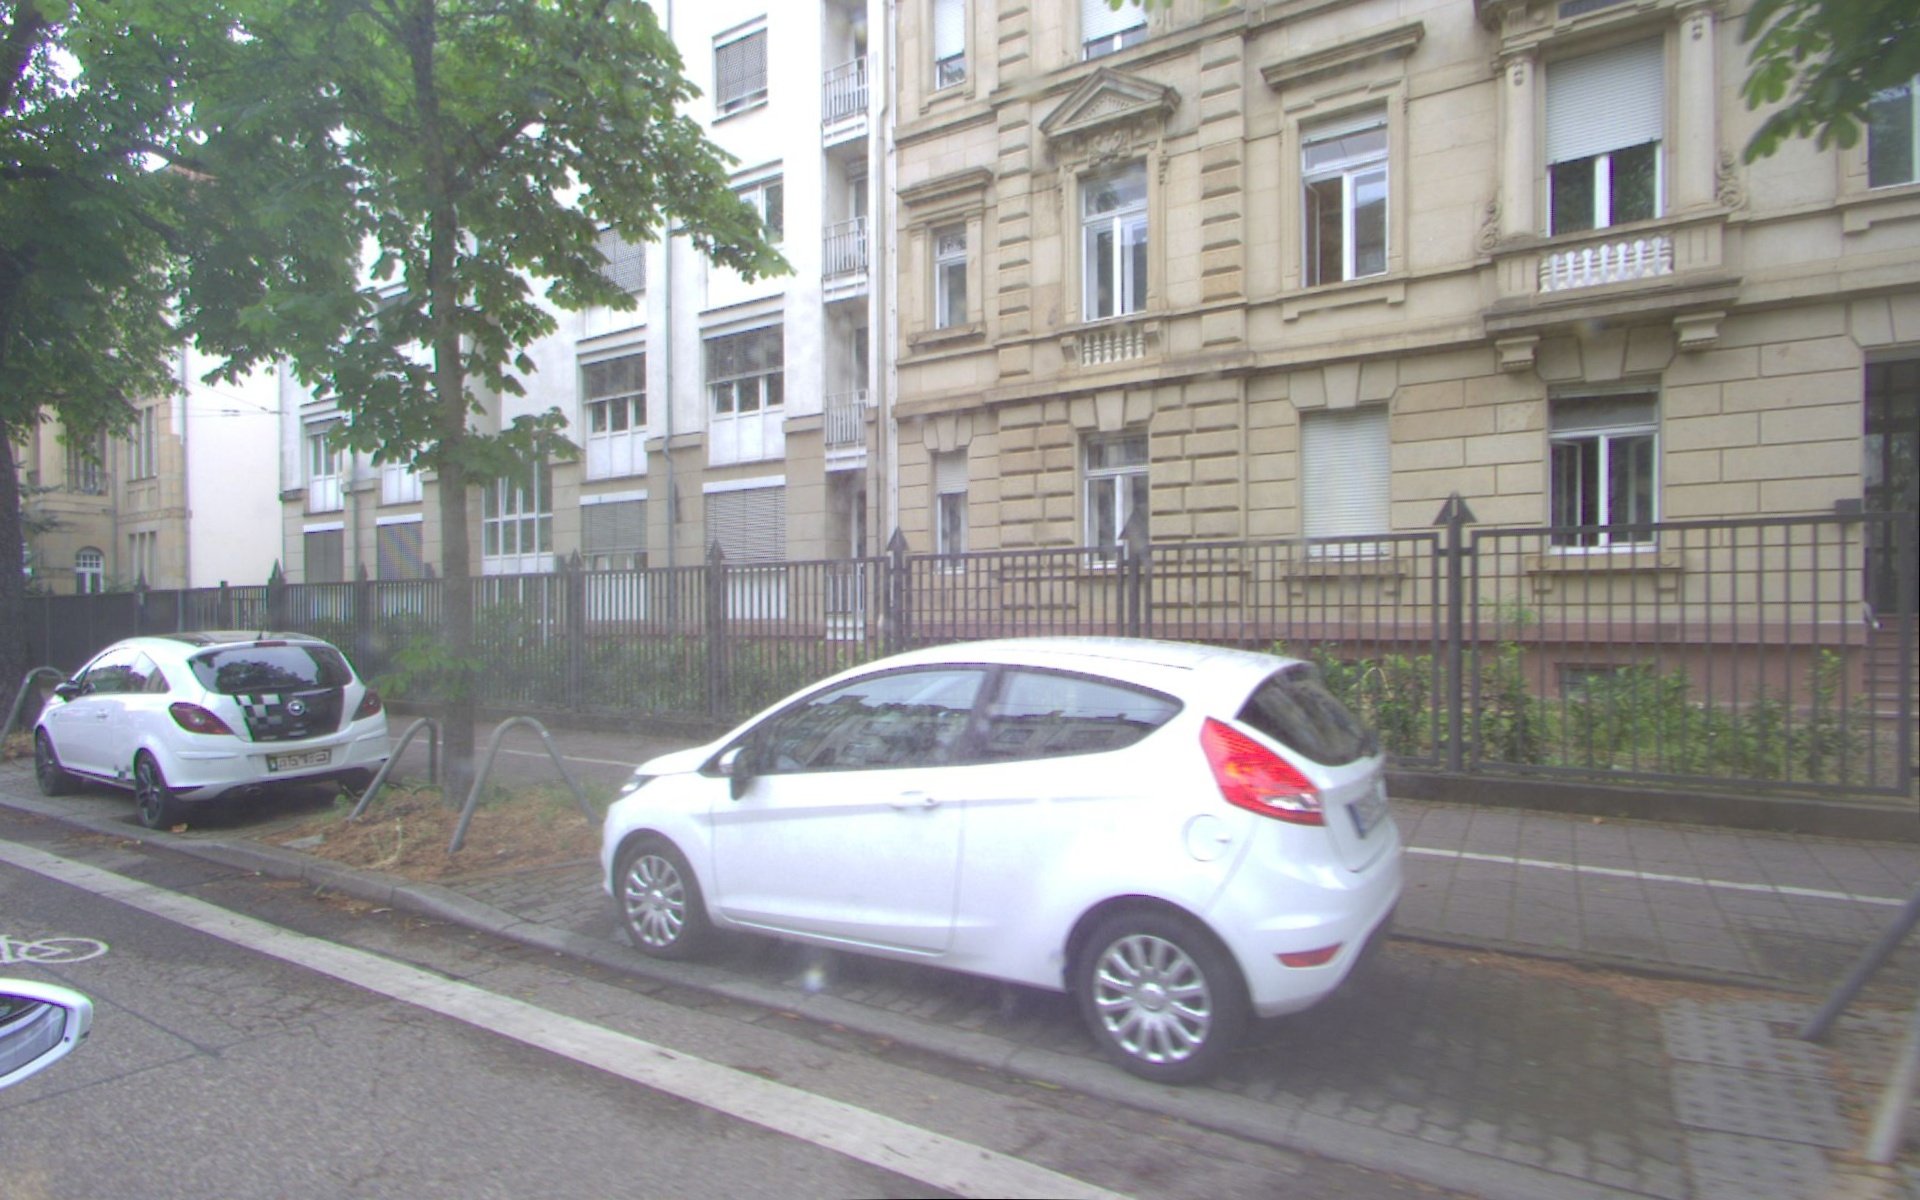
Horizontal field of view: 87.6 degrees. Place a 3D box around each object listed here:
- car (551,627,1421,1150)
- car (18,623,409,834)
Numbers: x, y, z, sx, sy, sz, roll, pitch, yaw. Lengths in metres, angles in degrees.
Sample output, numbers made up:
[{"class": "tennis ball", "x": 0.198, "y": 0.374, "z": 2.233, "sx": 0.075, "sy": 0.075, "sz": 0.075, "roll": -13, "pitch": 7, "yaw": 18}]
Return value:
[{"class": "car", "x": -0.004, "y": 0.897, "z": 4.623, "sx": 3.710, "sy": 1.455, "sz": 1.623, "roll": -1, "pitch": 1, "yaw": 32}, {"class": "car", "x": -6.750, "y": 0.975, "z": 8.967, "sx": 3.723, "sy": 1.455, "sz": 1.598, "roll": -1, "pitch": 1, "yaw": 33}]
